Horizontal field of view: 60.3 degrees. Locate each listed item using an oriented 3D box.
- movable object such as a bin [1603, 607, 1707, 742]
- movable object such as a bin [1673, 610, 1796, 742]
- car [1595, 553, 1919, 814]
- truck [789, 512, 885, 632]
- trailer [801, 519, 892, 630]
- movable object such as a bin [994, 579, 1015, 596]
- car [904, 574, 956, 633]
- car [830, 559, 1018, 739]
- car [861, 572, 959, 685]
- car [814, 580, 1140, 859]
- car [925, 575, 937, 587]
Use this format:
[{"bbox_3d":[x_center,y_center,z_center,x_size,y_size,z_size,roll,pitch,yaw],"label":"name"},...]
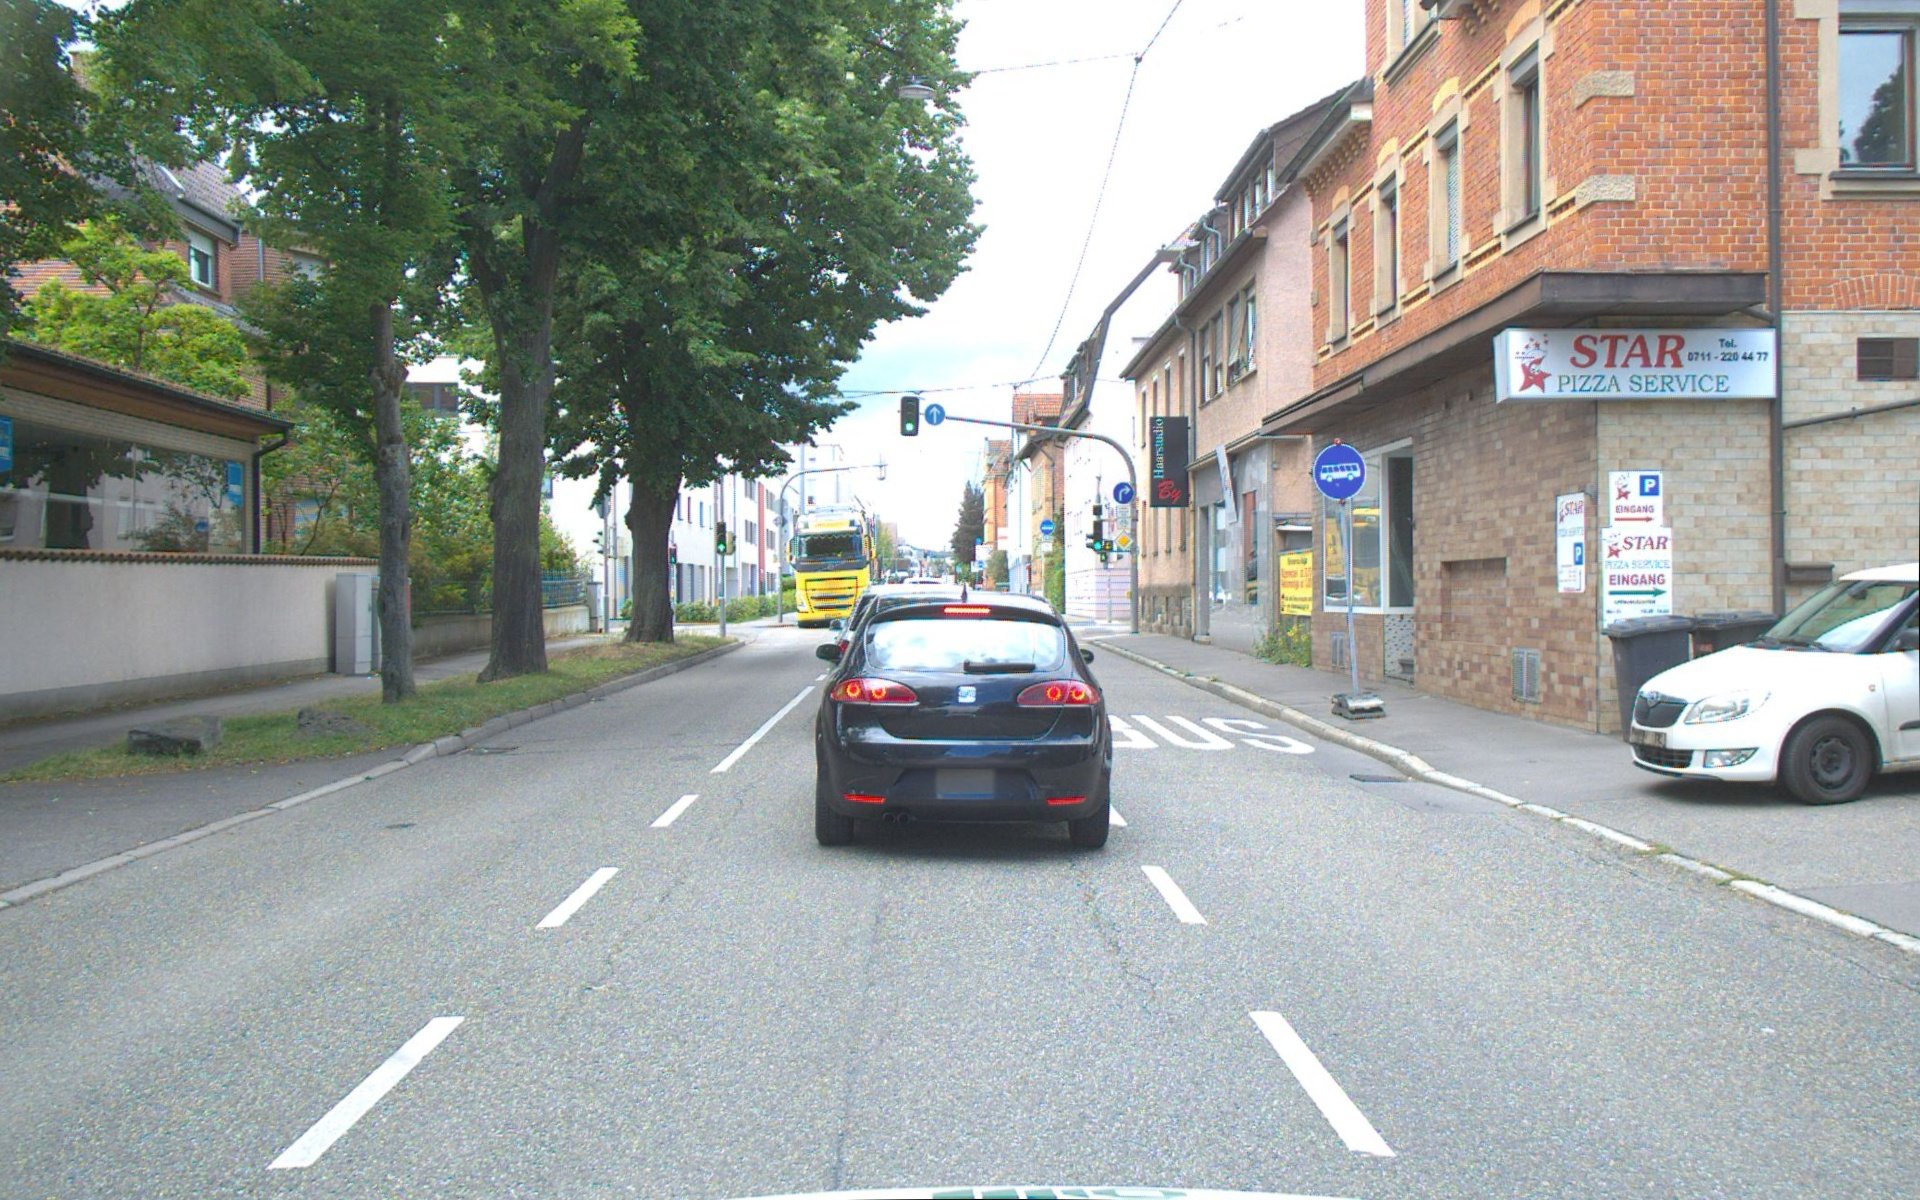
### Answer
[{"bbox_3d":[6.022,0.632,14.357,0.594,1.120,0.622,-2,0,-1],"label":"movable object such as a bin"},{"bbox_3d":[6.723,0.646,14.380,0.684,1.077,0.723,-2,0,-1],"label":"movable object such as a bin"},{"bbox_3d":[6.667,0.441,11.326,3.949,1.495,1.600,-5,0,-3],"label":"car"},{"bbox_3d":[-4.156,-0.912,57.178,2.786,3.848,7.668,1,0,-1],"label":"truck"},{"bbox_3d":[-4.271,-0.924,65.230,2.800,3.874,14.388,1,0,-1],"label":"trailer"},{"bbox_3d":[3.867,-1.078,143.152,1.781,1.462,1.992,1,0,0],"label":"movable object such as a bin"},{"bbox_3d":[-0.912,0.097,50.062,1.500,1.722,3.692,1,0,-2],"label":"car"},{"bbox_3d":[-0.395,0.470,17.951,1.805,1.722,3.999,1,0,-2],"label":"car"},{"bbox_3d":[-0.812,0.435,27.209,1.500,1.722,3.692,1,0,-2],"label":"car"},{"bbox_3d":[0.055,0.631,10.793,1.723,1.467,3.999,1,0,-1],"label":"car"},{"bbox_3d":[-4.085,-2.688,232.629,1.500,1.722,3.692,-1,1,-2],"label":"car"}]
